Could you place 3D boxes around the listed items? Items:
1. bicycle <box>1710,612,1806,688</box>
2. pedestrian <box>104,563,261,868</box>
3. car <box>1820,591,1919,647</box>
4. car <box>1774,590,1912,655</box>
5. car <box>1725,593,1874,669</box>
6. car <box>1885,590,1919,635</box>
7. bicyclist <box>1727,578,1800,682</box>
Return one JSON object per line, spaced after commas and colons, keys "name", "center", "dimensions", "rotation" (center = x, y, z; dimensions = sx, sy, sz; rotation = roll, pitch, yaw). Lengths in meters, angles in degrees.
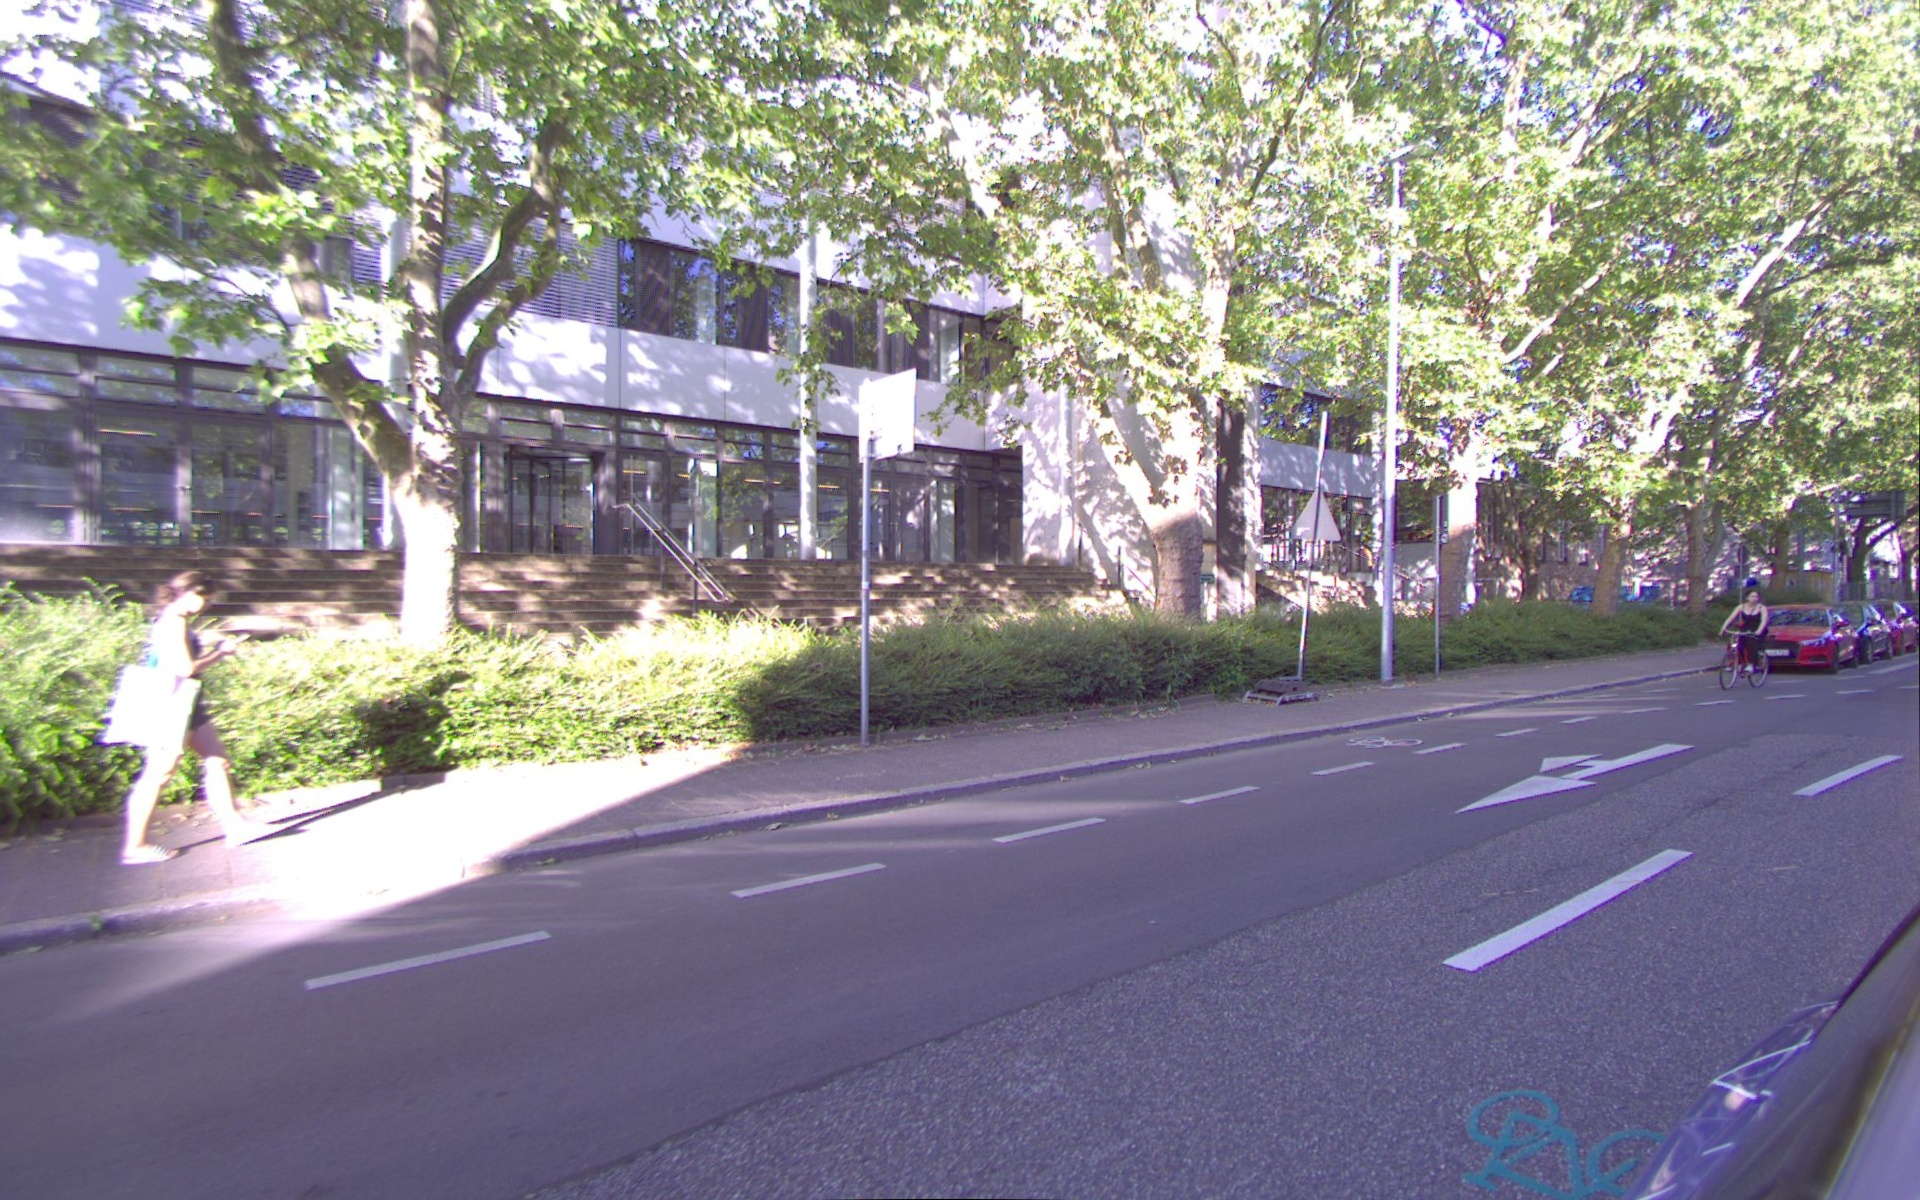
{"name": "bicycle", "center": [13.499, 0.800, 17.087], "dimensions": [2.766, 1.150, 0.769], "rotation": [-1, 0, -41]}
{"name": "pedestrian", "center": [-4.415, 0.603, 5.752], "dimensions": [0.671, 1.614, 0.462], "rotation": [-1, 0, -41]}
{"name": "car", "center": [25.843, 0.474, 28.408], "dimensions": [4.003, 1.469, 1.898], "rotation": [-1, 0, -39]}
{"name": "car", "center": [21.743, 0.495, 24.885], "dimensions": [4.003, 1.466, 1.898], "rotation": [-1, 0, -39]}
{"name": "car", "center": [18.203, 0.592, 21.890], "dimensions": [4.006, 1.461, 1.896], "rotation": [-1, 0, -41]}
{"name": "car", "center": [32.982, 0.403, 34.245], "dimensions": [4.003, 1.469, 1.898], "rotation": [-1, 0, -39]}
{"name": "bicyclist", "center": [13.686, 0.494, 17.244], "dimensions": [0.880, 1.701, 0.769], "rotation": [-1, -1, -41]}
